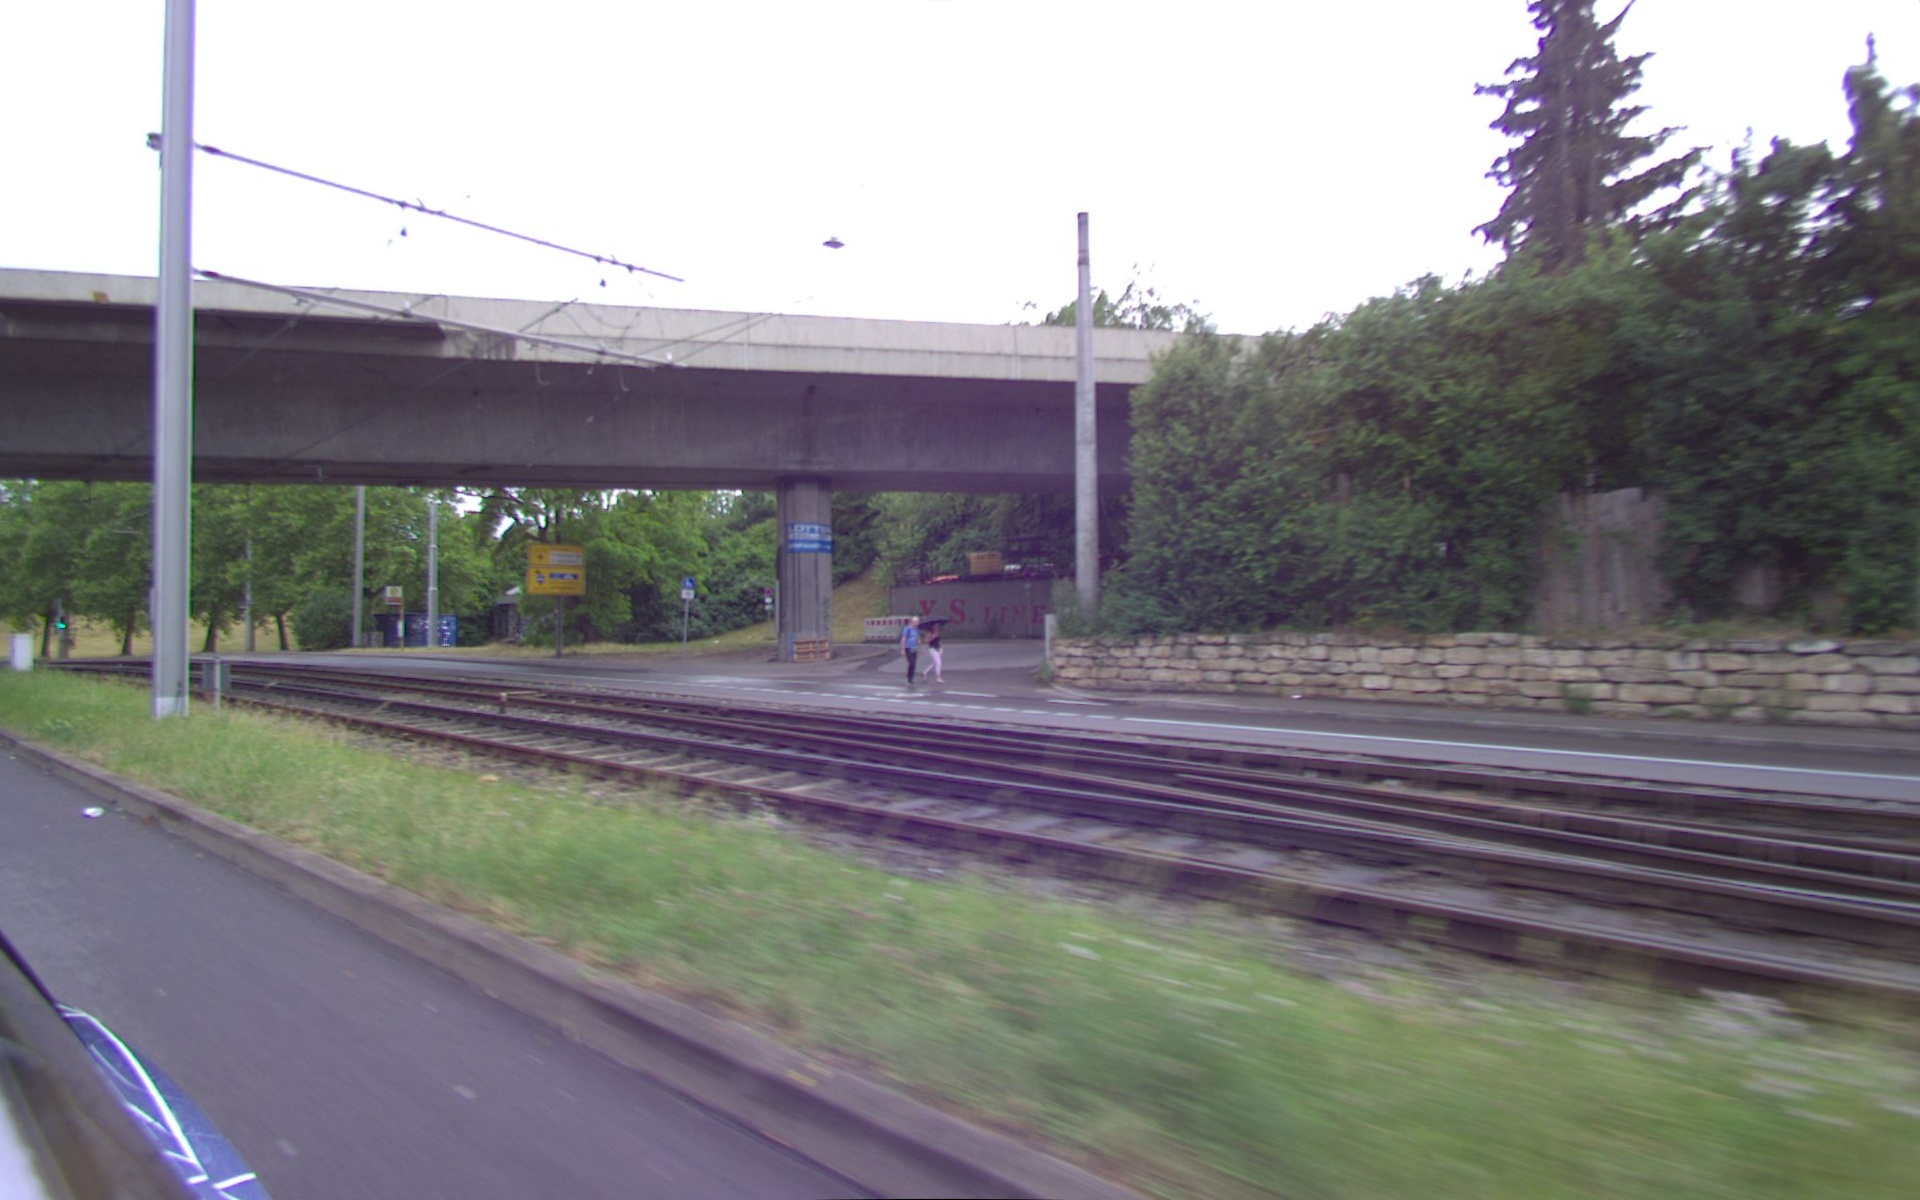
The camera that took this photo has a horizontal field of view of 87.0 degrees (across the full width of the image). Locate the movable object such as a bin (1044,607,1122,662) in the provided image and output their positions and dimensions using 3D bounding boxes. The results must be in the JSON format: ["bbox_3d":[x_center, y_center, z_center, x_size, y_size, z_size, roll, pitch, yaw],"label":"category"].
[{"bbox_3d":[3.610,1.013,29.920,1.772,1.490,1.566,-3,-1,-14],"label":"movable object such as a bin"}]

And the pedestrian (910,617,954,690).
[{"bbox_3d":[-0.743,1.385,26.456,0.866,1.845,0.686,-3,-2,42],"label":"pedestrian"}]

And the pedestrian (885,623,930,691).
[{"bbox_3d":[-1.328,1.432,25.538,0.888,1.683,0.686,-3,-2,44],"label":"pedestrian"}]

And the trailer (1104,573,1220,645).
[{"bbox_3d":[8.145,0.360,40.851,4.053,2.746,2.006,-1,-1,-16],"label":"trailer"}]
